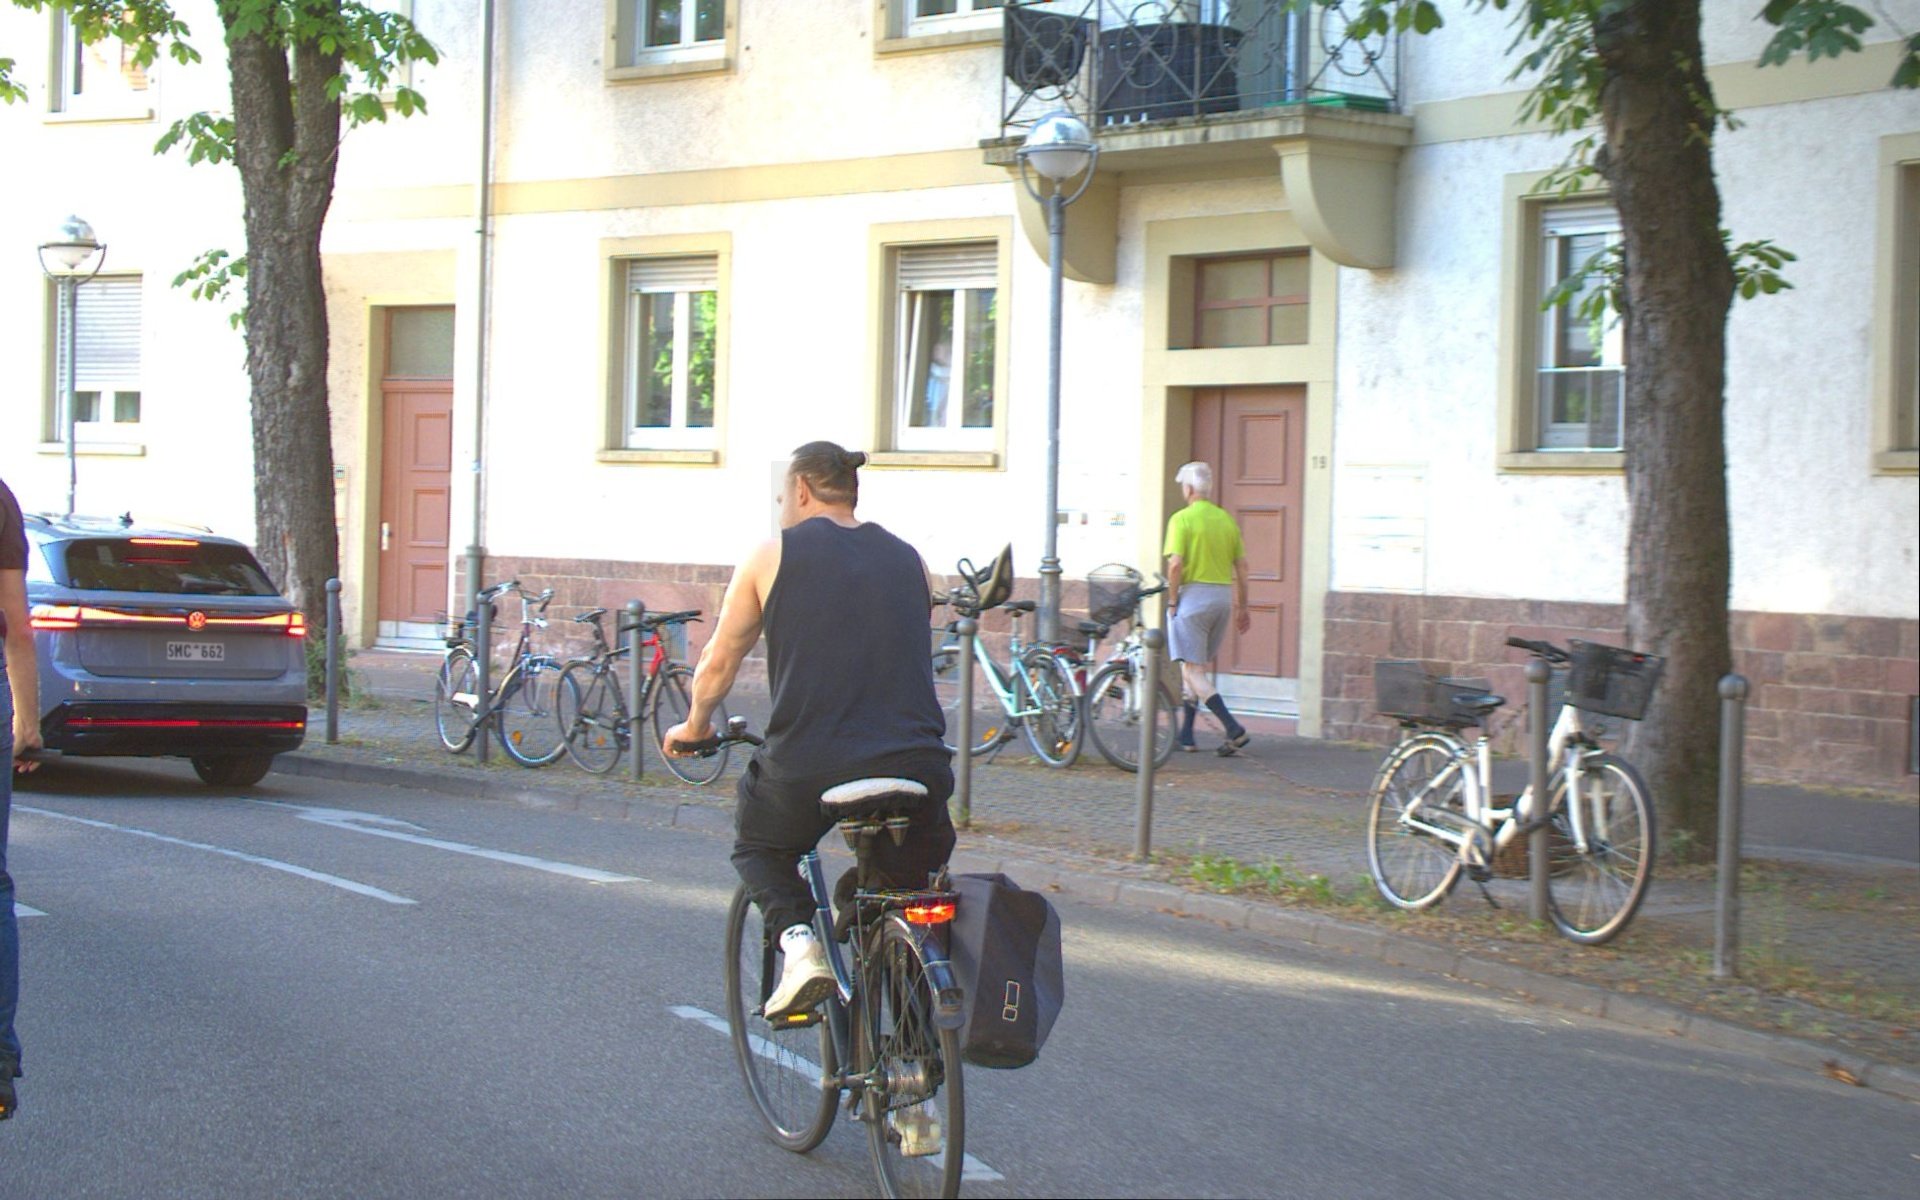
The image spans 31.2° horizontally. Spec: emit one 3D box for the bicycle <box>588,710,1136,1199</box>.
[{"bbox_3d":[-0.297,0.839,7.934,0.737,1.008,2.062,2,2,-16],"label":"bicycle"}]

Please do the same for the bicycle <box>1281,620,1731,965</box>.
[{"bbox_3d":[2.039,0.685,13.122,0.616,1.109,1.992,-3,3,-27],"label":"bicycle"}]

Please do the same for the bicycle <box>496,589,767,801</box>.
[{"bbox_3d":[-1.871,0.505,19.347,0.616,1.054,1.928,-1,3,-36],"label":"bicycle"}]

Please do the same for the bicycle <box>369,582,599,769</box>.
[{"bbox_3d":[-2.880,0.426,20.589,0.520,0.995,2.191,1,1,-31],"label":"bicycle"}]

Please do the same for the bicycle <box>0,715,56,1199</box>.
[{"bbox_3d":[-2.341,0.817,7.493,0.674,1.050,2.062,1,0,-16],"label":"bicycle"}]

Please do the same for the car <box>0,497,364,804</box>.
[{"bbox_3d":[-5.326,0.204,19.889,1.892,1.572,3.999,1,2,-40],"label":"car"}]

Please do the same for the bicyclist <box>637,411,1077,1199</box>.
[{"bbox_3d":[-0.258,0.431,7.843,0.752,1.676,0.913,1,1,-16],"label":"bicyclist"}]

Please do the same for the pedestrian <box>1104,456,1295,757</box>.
[{"bbox_3d":[1.468,0.021,21.023,0.659,1.788,0.995,2,3,44],"label":"pedestrian"}]

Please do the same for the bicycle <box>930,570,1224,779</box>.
[{"bbox_3d":[0.662,0.411,20.384,0.582,1.110,2.117,0,2,-34],"label":"bicycle"}]

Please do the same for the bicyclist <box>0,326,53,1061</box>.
[{"bbox_3d":[-2.345,0.181,7.511,0.671,1.509,1.069,1,1,-16],"label":"bicyclist"}]

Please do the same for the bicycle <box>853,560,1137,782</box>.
[{"bbox_3d":[0.175,0.383,20.030,0.494,1.168,2.117,-4,4,-35],"label":"bicycle"}]
